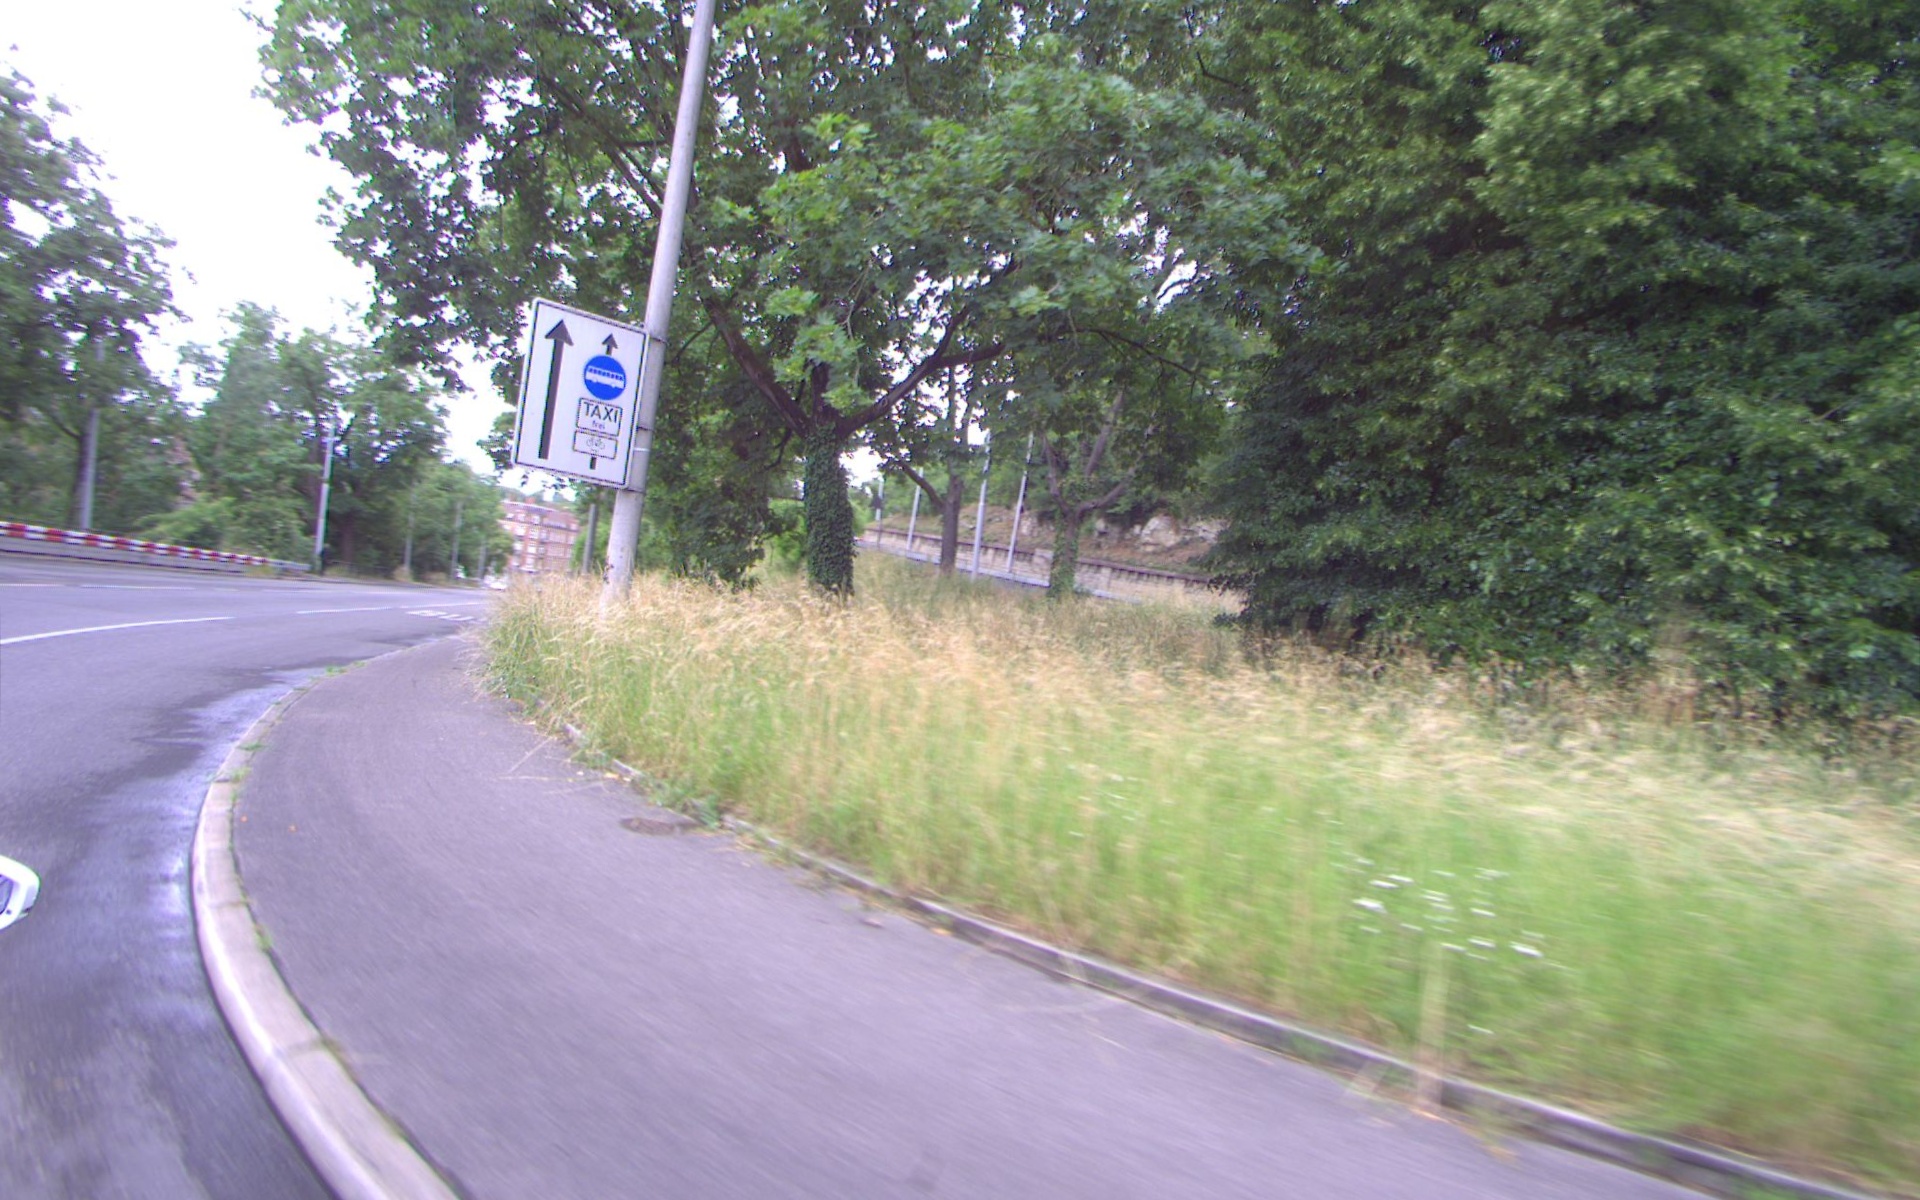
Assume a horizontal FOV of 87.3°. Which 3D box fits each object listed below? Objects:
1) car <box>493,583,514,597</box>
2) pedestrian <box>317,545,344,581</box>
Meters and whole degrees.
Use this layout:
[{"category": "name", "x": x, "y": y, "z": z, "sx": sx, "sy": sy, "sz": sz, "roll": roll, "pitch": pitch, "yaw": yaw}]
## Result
[{"category": "car", "x": -53.462, "y": -1.199, "z": 117.840, "sx": 1.774, "sy": 1.444, "sz": 4.127, "roll": 7, "pitch": -1, "yaw": -19}, {"category": "pedestrian", "x": -34.755, "y": -2.024, "z": 55.556, "sx": 0.781, "sy": 1.793, "sz": 1.203, "roll": 11, "pitch": -3, "yaw": -21}]
